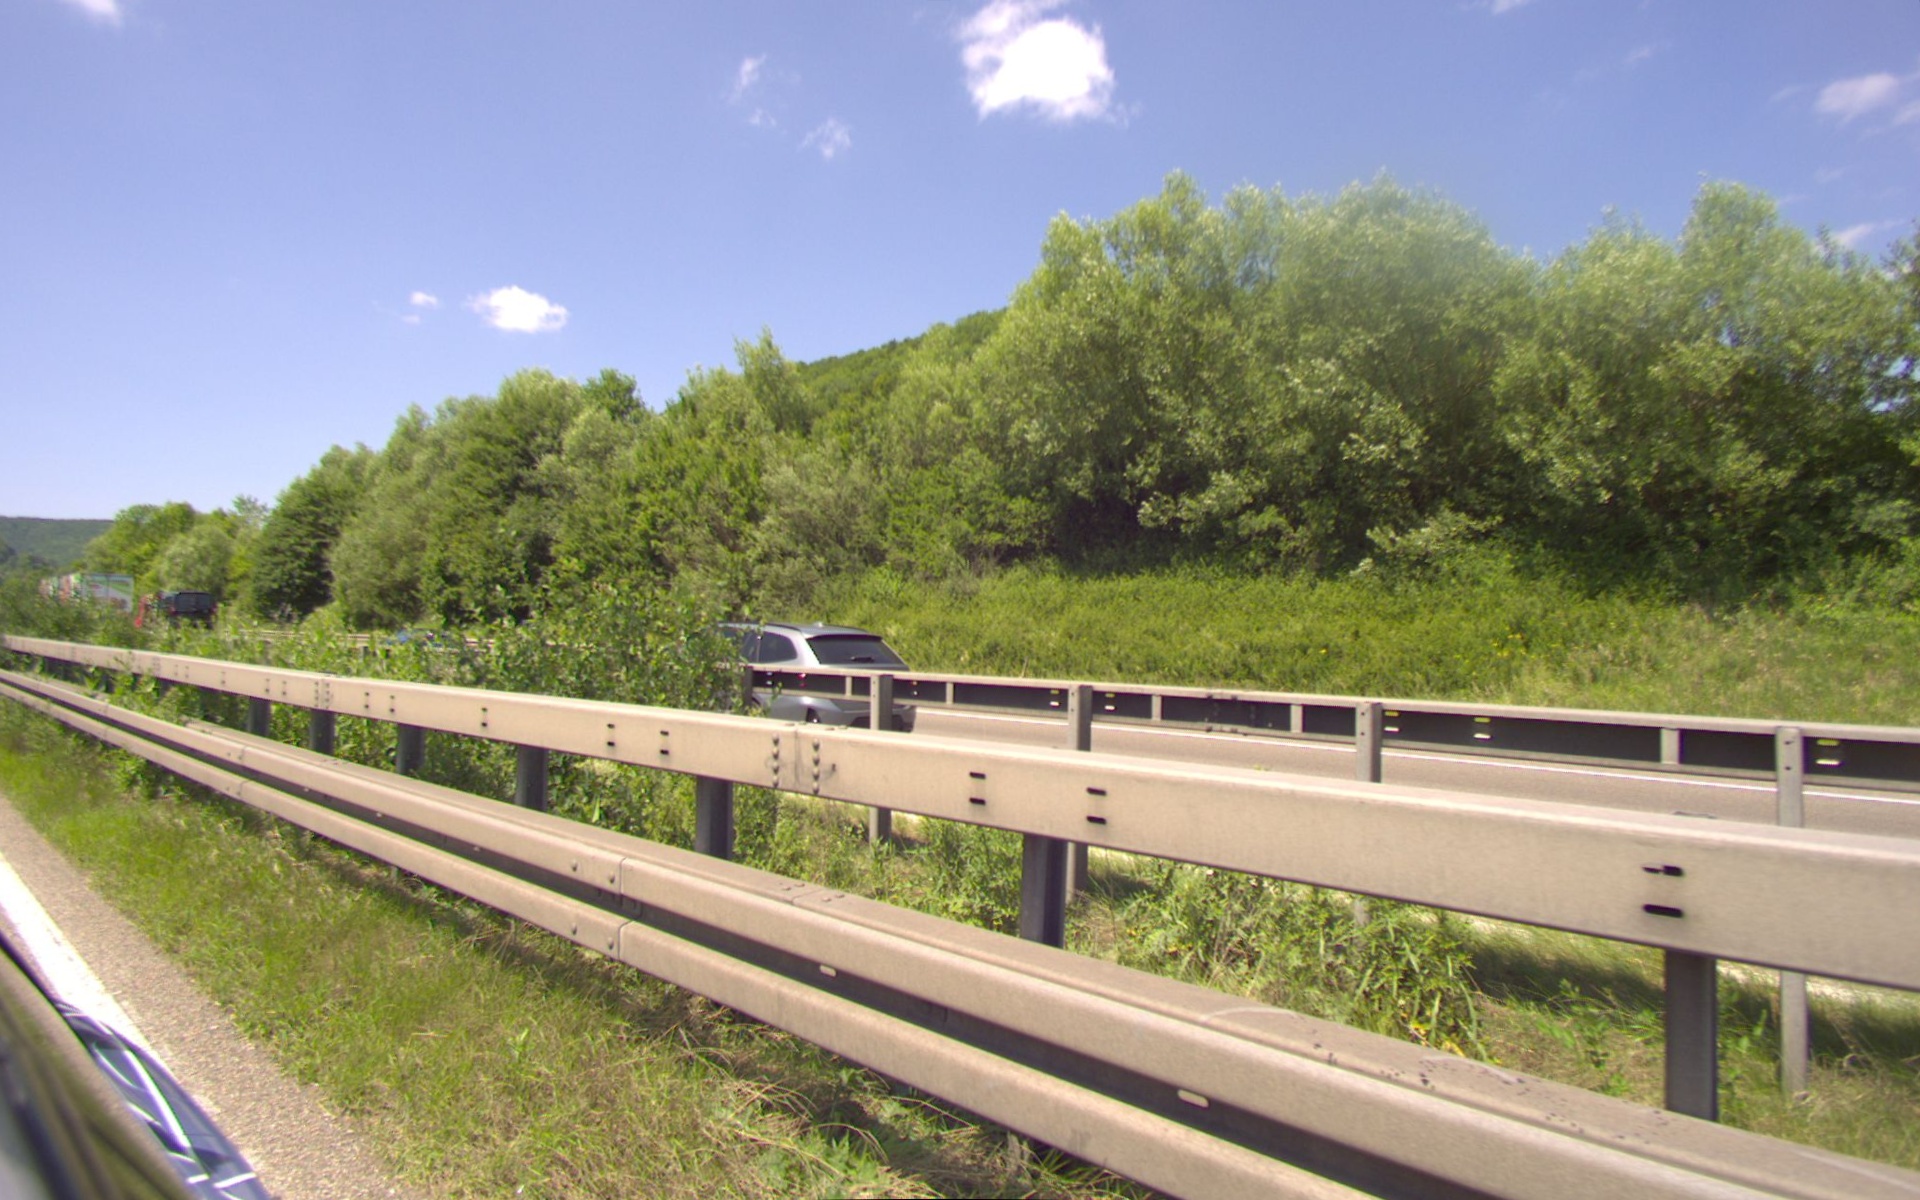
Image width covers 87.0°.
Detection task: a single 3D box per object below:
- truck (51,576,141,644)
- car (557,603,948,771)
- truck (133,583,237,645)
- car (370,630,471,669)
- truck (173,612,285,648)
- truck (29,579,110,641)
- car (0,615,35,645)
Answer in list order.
[{"bbox_3d":[-54.689,0.692,63.950,9.026,4.011,2.839,-1,-3,41],"label":"truck"},{"bbox_3d":[-2.521,0.839,11.557,4.675,1.530,1.972,-1,-2,41],"label":"car"},{"bbox_3d":[-35.258,0.651,45.933,7.964,2.608,2.272,-1,-1,41],"label":"truck"},{"bbox_3d":[-20.590,1.841,38.570,4.103,1.366,1.974,-1,-2,39],"label":"car"},{"bbox_3d":[-29.634,1.179,40.929,7.007,1.344,2.186,-1,-2,41],"label":"truck"},{"bbox_3d":[-61.963,0.755,70.307,10.165,4.037,2.839,-1,-1,41],"label":"truck"},{"bbox_3d":[-53.332,1.675,56.666,3.997,1.611,1.759,-1,-2,40],"label":"car"}]
